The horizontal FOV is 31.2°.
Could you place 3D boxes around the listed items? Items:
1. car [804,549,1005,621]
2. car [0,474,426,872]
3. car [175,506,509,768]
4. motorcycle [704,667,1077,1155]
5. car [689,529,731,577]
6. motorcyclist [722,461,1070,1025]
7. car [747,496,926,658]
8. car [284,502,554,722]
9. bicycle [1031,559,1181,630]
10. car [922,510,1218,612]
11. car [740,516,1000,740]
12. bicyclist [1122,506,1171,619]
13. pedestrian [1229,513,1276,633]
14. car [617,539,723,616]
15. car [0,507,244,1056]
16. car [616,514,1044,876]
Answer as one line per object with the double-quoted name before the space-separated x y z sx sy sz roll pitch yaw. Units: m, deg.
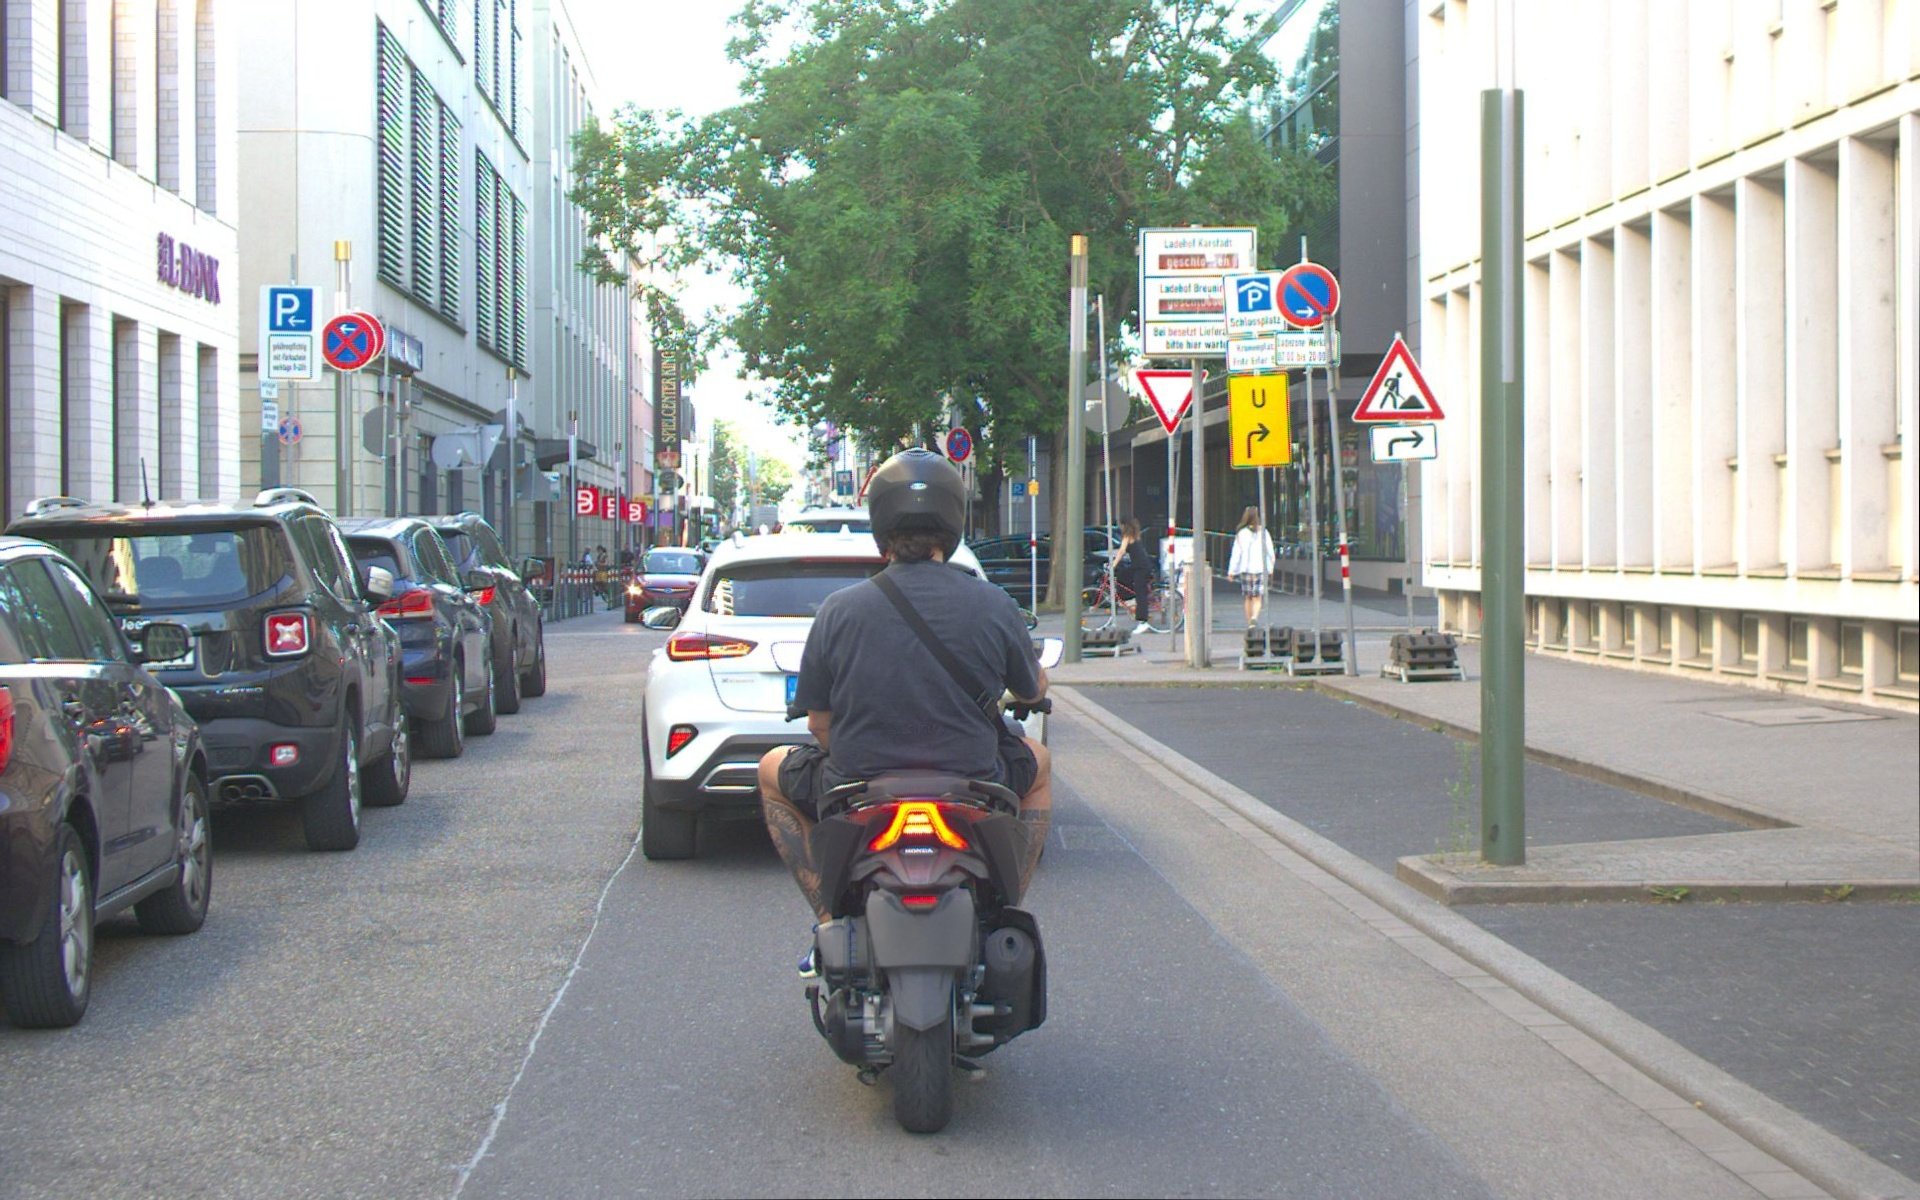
"car" -1.470 -0.397 89.059 5.003 1.494 2.000 -4 1 -5
"car" -3.823 0.274 17.267 1.822 1.708 4.018 -2 2 -3
"car" -4.174 0.178 23.787 1.739 1.589 4.155 -2 2 -3
"motorcycle" -0.190 0.755 9.071 0.872 1.105 1.840 1 0 -2
"car" -12.675 -2.384 174.384 1.993 2.321 5.022 1 1 -5
"motorcyclist" -0.168 0.361 8.932 0.867 1.422 0.455 1 0 -2
"car" -1.437 -0.302 38.385 1.822 1.640 4.495 -2 2 -3
"car" -4.539 0.040 29.377 1.822 1.672 4.264 -2 2 -4
"bicycle" 2.109 -0.080 49.674 2.103 0.991 0.518 1 0 10
"car" 1.935 -0.693 61.355 5.003 1.447 2.000 -4 1 -5
"car" -0.783 0.149 26.994 1.822 1.536 4.365 -2 2 -3
"bicyclist" 2.686 -0.538 49.571 0.630 1.620 0.498 1 0 11
"pedestrian" 3.893 -0.356 45.799 0.559 1.578 0.598 1 0 -1
"car" -5.828 -0.429 69.462 1.822 1.460 4.263 0 -1 -1
"car" -3.696 0.487 11.687 1.822 1.536 4.264 -2 2 -3
"car" -0.683 0.351 16.833 1.822 1.536 4.264 0 2 -4
